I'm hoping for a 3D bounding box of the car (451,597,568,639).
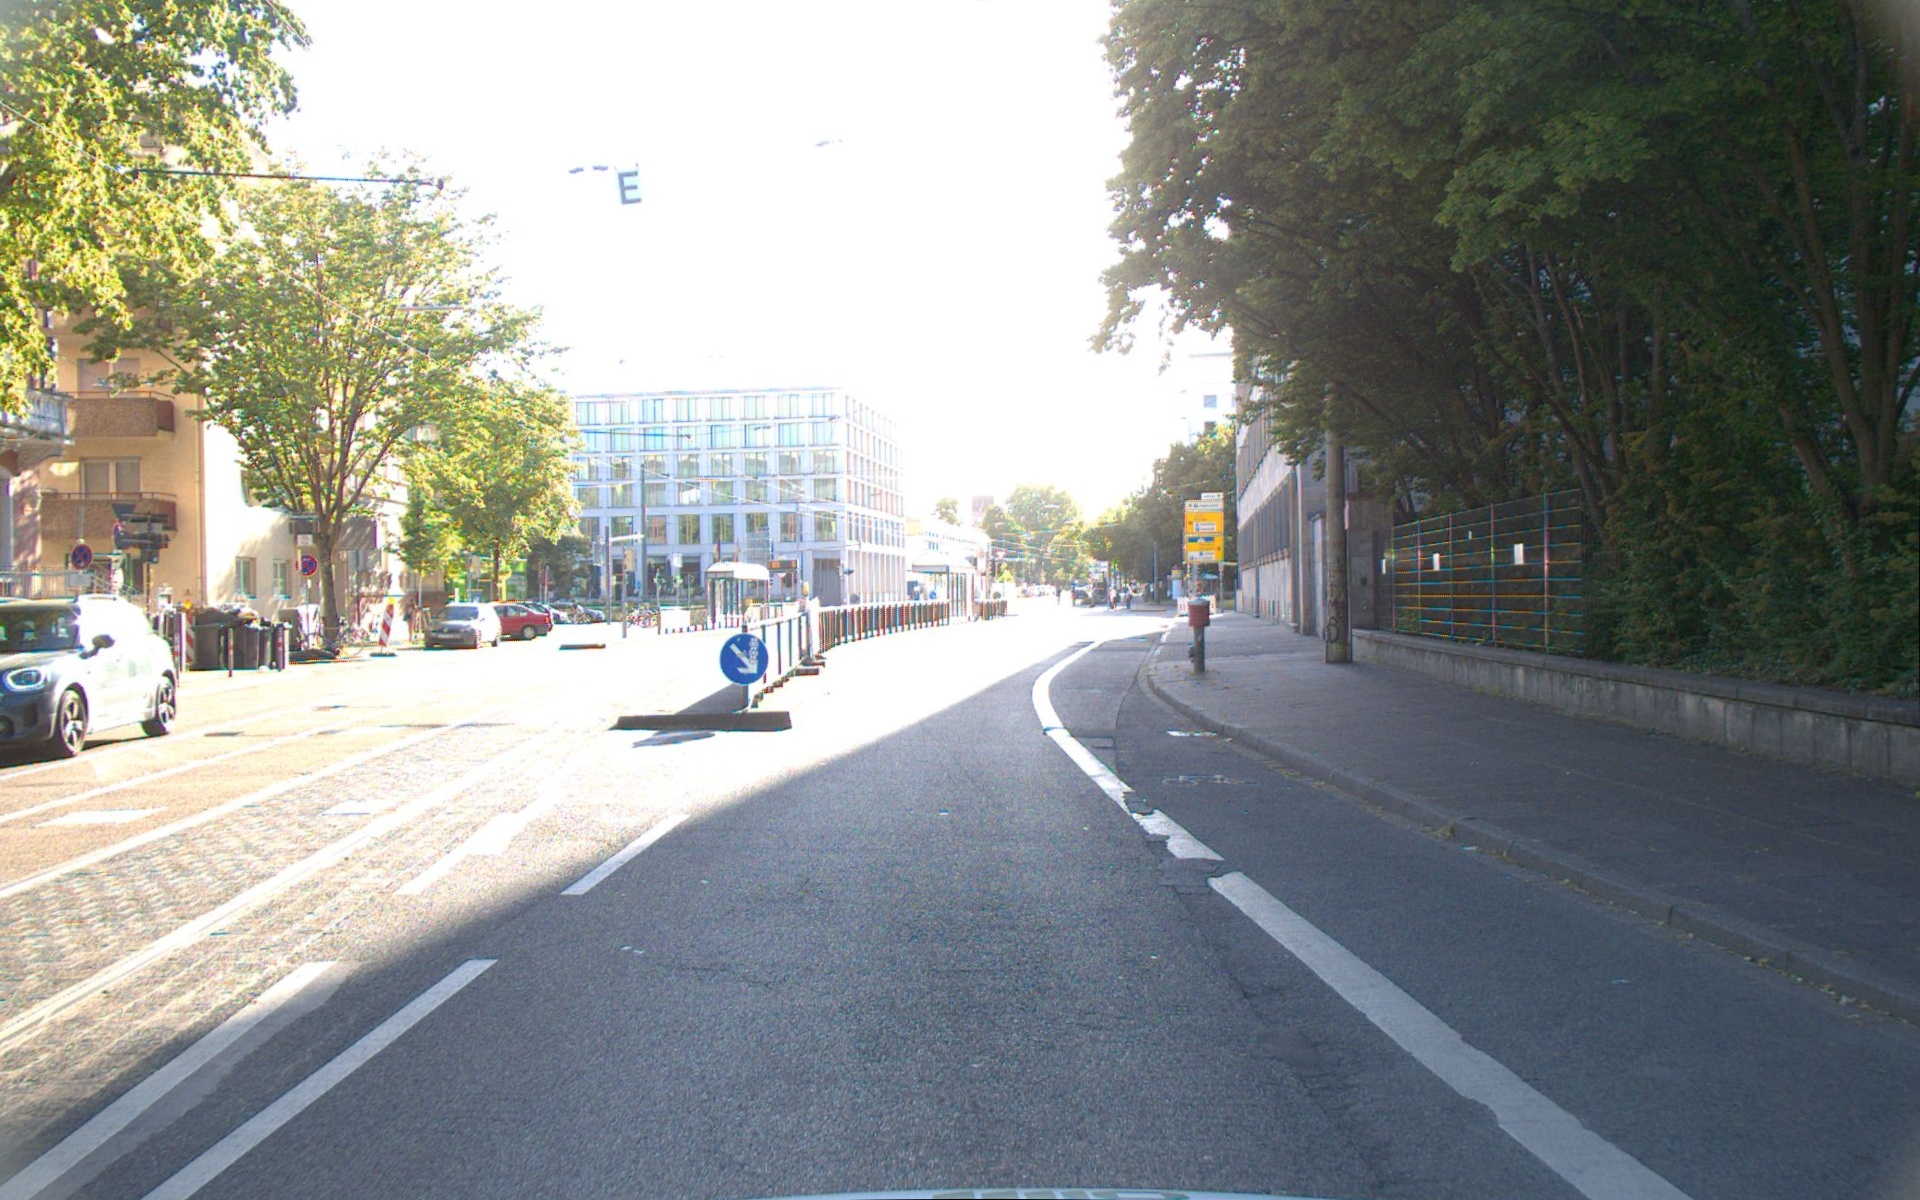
[{"bbox_3d":[-18.607,0.760,68.423,4.469,1.670,1.568,1,-1,-38],"label":"car"}]

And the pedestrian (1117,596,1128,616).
[{"bbox_3d":[13.401,0.498,136.483,0.748,1.586,0.587,-1,0,-8],"label":"pedestrian"}]

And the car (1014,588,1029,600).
[{"bbox_3d":[9.164,-0.867,247.474,1.780,1.742,3.808,-1,0,8],"label":"car"}]

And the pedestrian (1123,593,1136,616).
[{"bbox_3d":[13.868,0.362,135.254,0.832,1.815,0.778,-1,0,-8],"label":"pedestrian"}]

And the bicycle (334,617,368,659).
[{"bbox_3d":[-16.990,1.058,46.150,0.258,1.136,1.406,-1,0,7],"label":"bicycle"}]

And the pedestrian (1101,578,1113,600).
[{"bbox_3d":[12.115,-0.920,136.458,0.832,1.815,0.778,-1,0,-8],"label":"pedestrian"}]

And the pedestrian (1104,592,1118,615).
[{"bbox_3d":[12.259,0.296,133.888,0.948,1.815,0.778,-1,0,-8],"label":"pedestrian"}]

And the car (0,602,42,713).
[{"bbox_3d":[-15.164,0.778,23.116,3.879,1.534,1.668,2,0,-37],"label":"car"}]

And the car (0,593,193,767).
[{"bbox_3d":[-9.877,0.765,17.745,1.837,1.629,4.417,-1,0,-9],"label":"car"}]

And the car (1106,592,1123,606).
[{"bbox_3d":[16.864,-0.125,180.415,1.648,1.527,3.511,1,-1,8],"label":"car"}]

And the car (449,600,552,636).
[{"bbox_3d":[-21.250,0.839,76.529,4.443,1.597,1.578,0,-1,-25],"label":"car"}]

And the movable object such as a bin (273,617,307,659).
[{"bbox_3d":[-18.377,1.036,45.379,0.416,1.146,1.147,-1,0,1],"label":"movable object such as a bin"}]

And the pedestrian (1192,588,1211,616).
[{"bbox_3d":[15.456,0.155,105.870,1.019,1.751,1.034,-1,0,-3],"label":"pedestrian"}]

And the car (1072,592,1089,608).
[{"bbox_3d":[13.683,-0.012,187.762,1.648,1.768,3.511,1,-1,8],"label":"car"}]

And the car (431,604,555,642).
[{"bbox_3d":[-18.525,0.906,65.631,4.451,1.450,1.855,1,-1,-29],"label":"car"}]

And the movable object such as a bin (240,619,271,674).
[{"bbox_3d":[-16.028,1.046,37.640,0.371,1.224,0.640,-1,0,7],"label":"movable object such as a bin"}]

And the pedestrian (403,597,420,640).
[{"bbox_3d":[-21.602,0.728,65.145,0.500,1.701,0.490,-1,0,0],"label":"pedestrian"}]

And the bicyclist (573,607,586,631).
[{"bbox_3d":[-25.807,1.278,112.234,0.605,1.610,0.594,-1,0,13],"label":"bicyclist"}]

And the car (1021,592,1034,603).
[{"bbox_3d":[10.233,-0.412,251.293,1.575,1.524,3.808,-1,0,8],"label":"car"}]

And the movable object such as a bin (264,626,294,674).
[{"bbox_3d":[-16.070,1.175,39.056,0.371,1.087,0.640,-1,0,7],"label":"movable object such as a bin"}]

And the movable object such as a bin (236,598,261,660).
[{"bbox_3d":[-16.662,0.676,38.741,0.371,1.452,0.388,-1,0,7],"label":"movable object such as a bin"}]

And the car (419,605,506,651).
[{"bbox_3d":[-16.780,0.915,55.979,1.671,1.435,4.291,1,0,-1],"label":"car"}]

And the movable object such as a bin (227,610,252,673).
[{"bbox_3d":[-16.695,0.954,38.332,0.371,1.452,0.386,-1,0,7],"label":"movable object such as a bin"}]

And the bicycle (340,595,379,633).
[{"bbox_3d":[-23.531,0.545,64.877,0.703,1.422,3.006,-1,0,-6],"label":"bicycle"}]

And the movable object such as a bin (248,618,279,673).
[{"bbox_3d":[-16.144,1.047,38.345,0.371,1.263,0.640,-1,0,7],"label":"movable object such as a bin"}]

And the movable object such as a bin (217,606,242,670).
[{"bbox_3d":[-16.745,0.869,37.917,0.371,1.452,0.388,-1,0,7],"label":"movable object such as a bin"}]

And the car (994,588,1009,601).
[{"bbox_3d":[5.943,-0.821,236.115,1.780,1.742,3.808,-1,0,8],"label":"car"}]

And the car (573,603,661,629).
[{"bbox_3d":[-18.569,0.871,89.652,4.443,1.374,1.578,0,-1,-25],"label":"car"}]

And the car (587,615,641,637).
[{"bbox_3d":[-24.791,1.830,118.435,3.455,1.532,1.523,0,0,6],"label":"car"}]

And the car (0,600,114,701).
[{"bbox_3d":[-15.769,0.778,26.208,3.883,1.548,1.709,2,0,-42],"label":"car"}]

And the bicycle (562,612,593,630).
[{"bbox_3d":[-25.979,1.408,112.296,1.882,1.142,0.791,-1,0,13],"label":"bicycle"}]
